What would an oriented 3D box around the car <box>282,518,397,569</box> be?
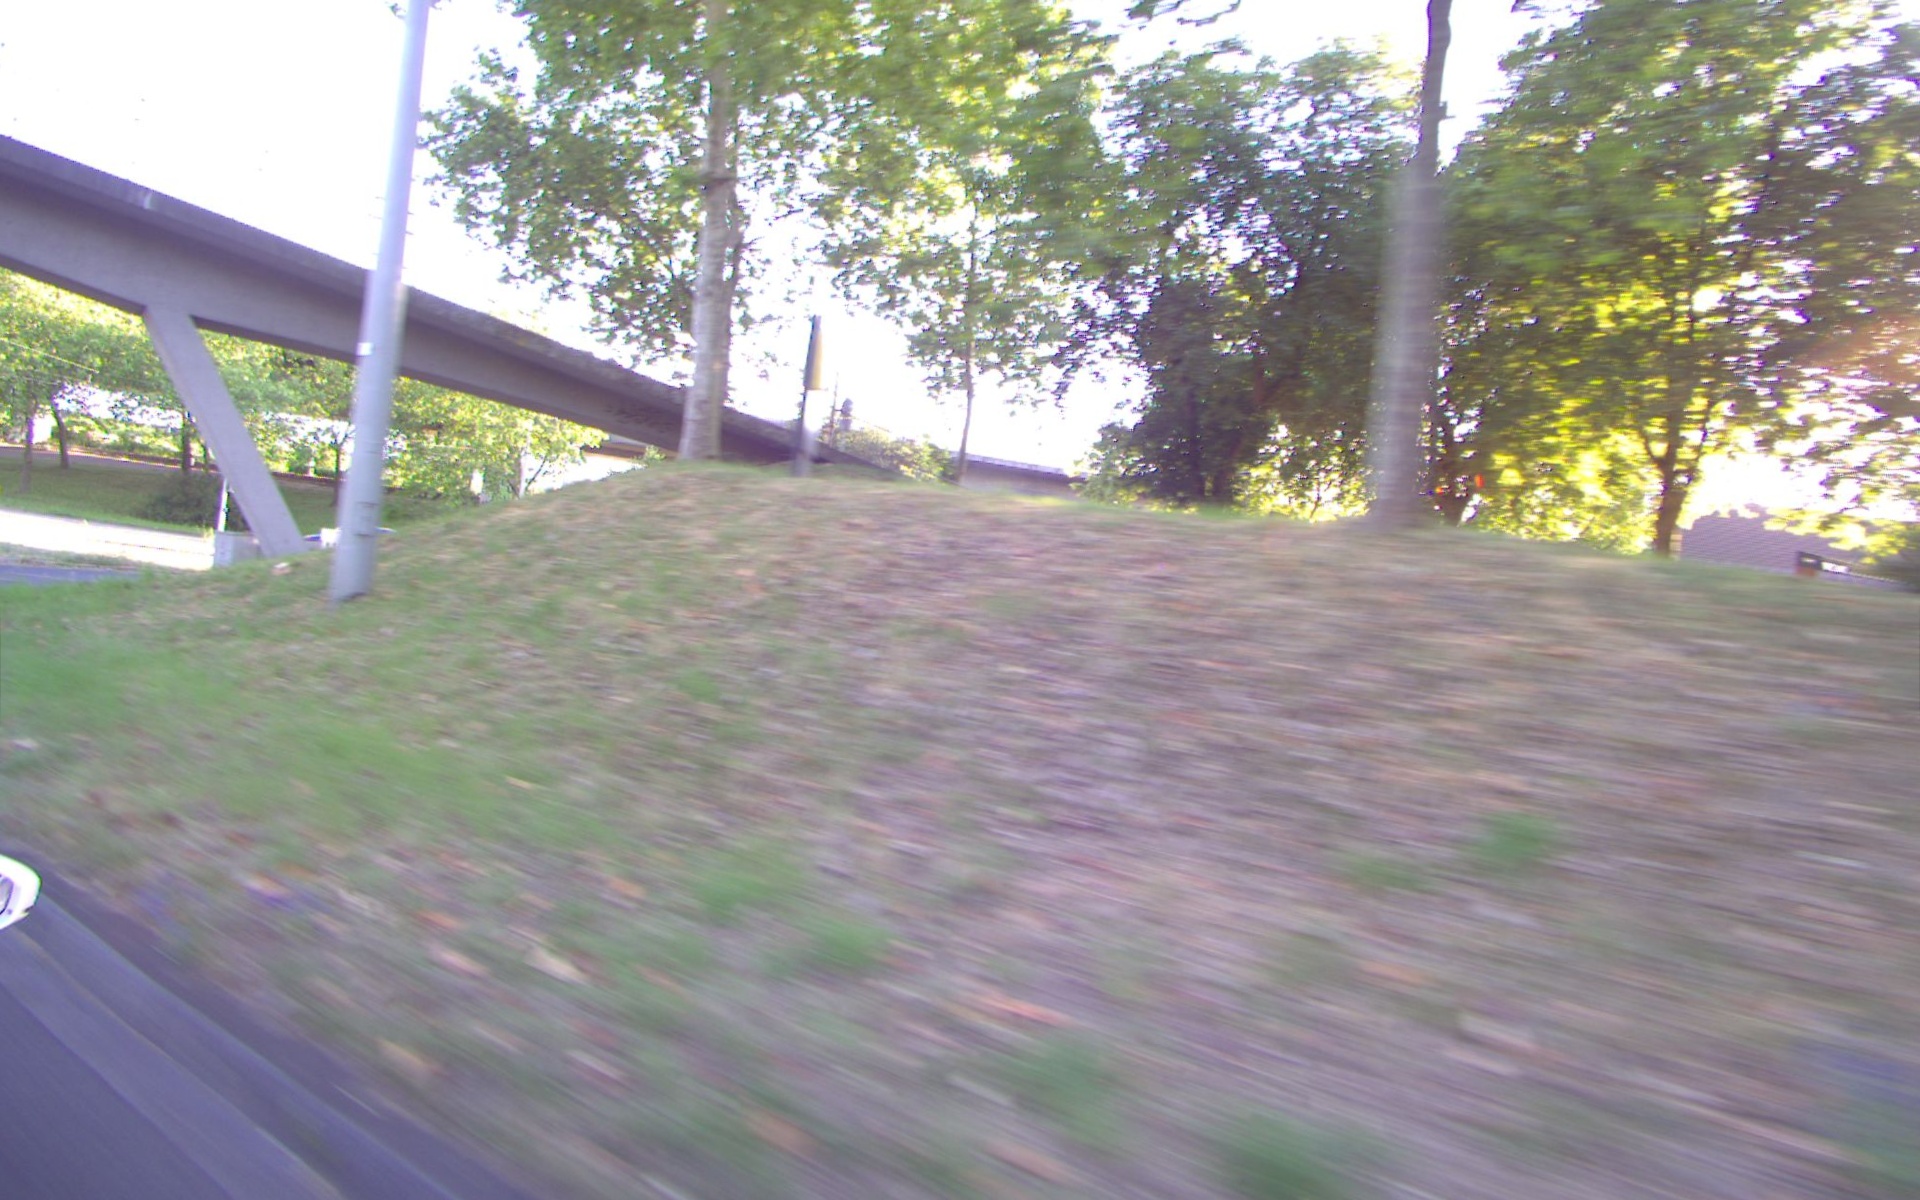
[{"bbox_3d":[-30.376,-2.762,49.330,4.484,1.713,1.979,9,-1,-38],"label":"car"}]
